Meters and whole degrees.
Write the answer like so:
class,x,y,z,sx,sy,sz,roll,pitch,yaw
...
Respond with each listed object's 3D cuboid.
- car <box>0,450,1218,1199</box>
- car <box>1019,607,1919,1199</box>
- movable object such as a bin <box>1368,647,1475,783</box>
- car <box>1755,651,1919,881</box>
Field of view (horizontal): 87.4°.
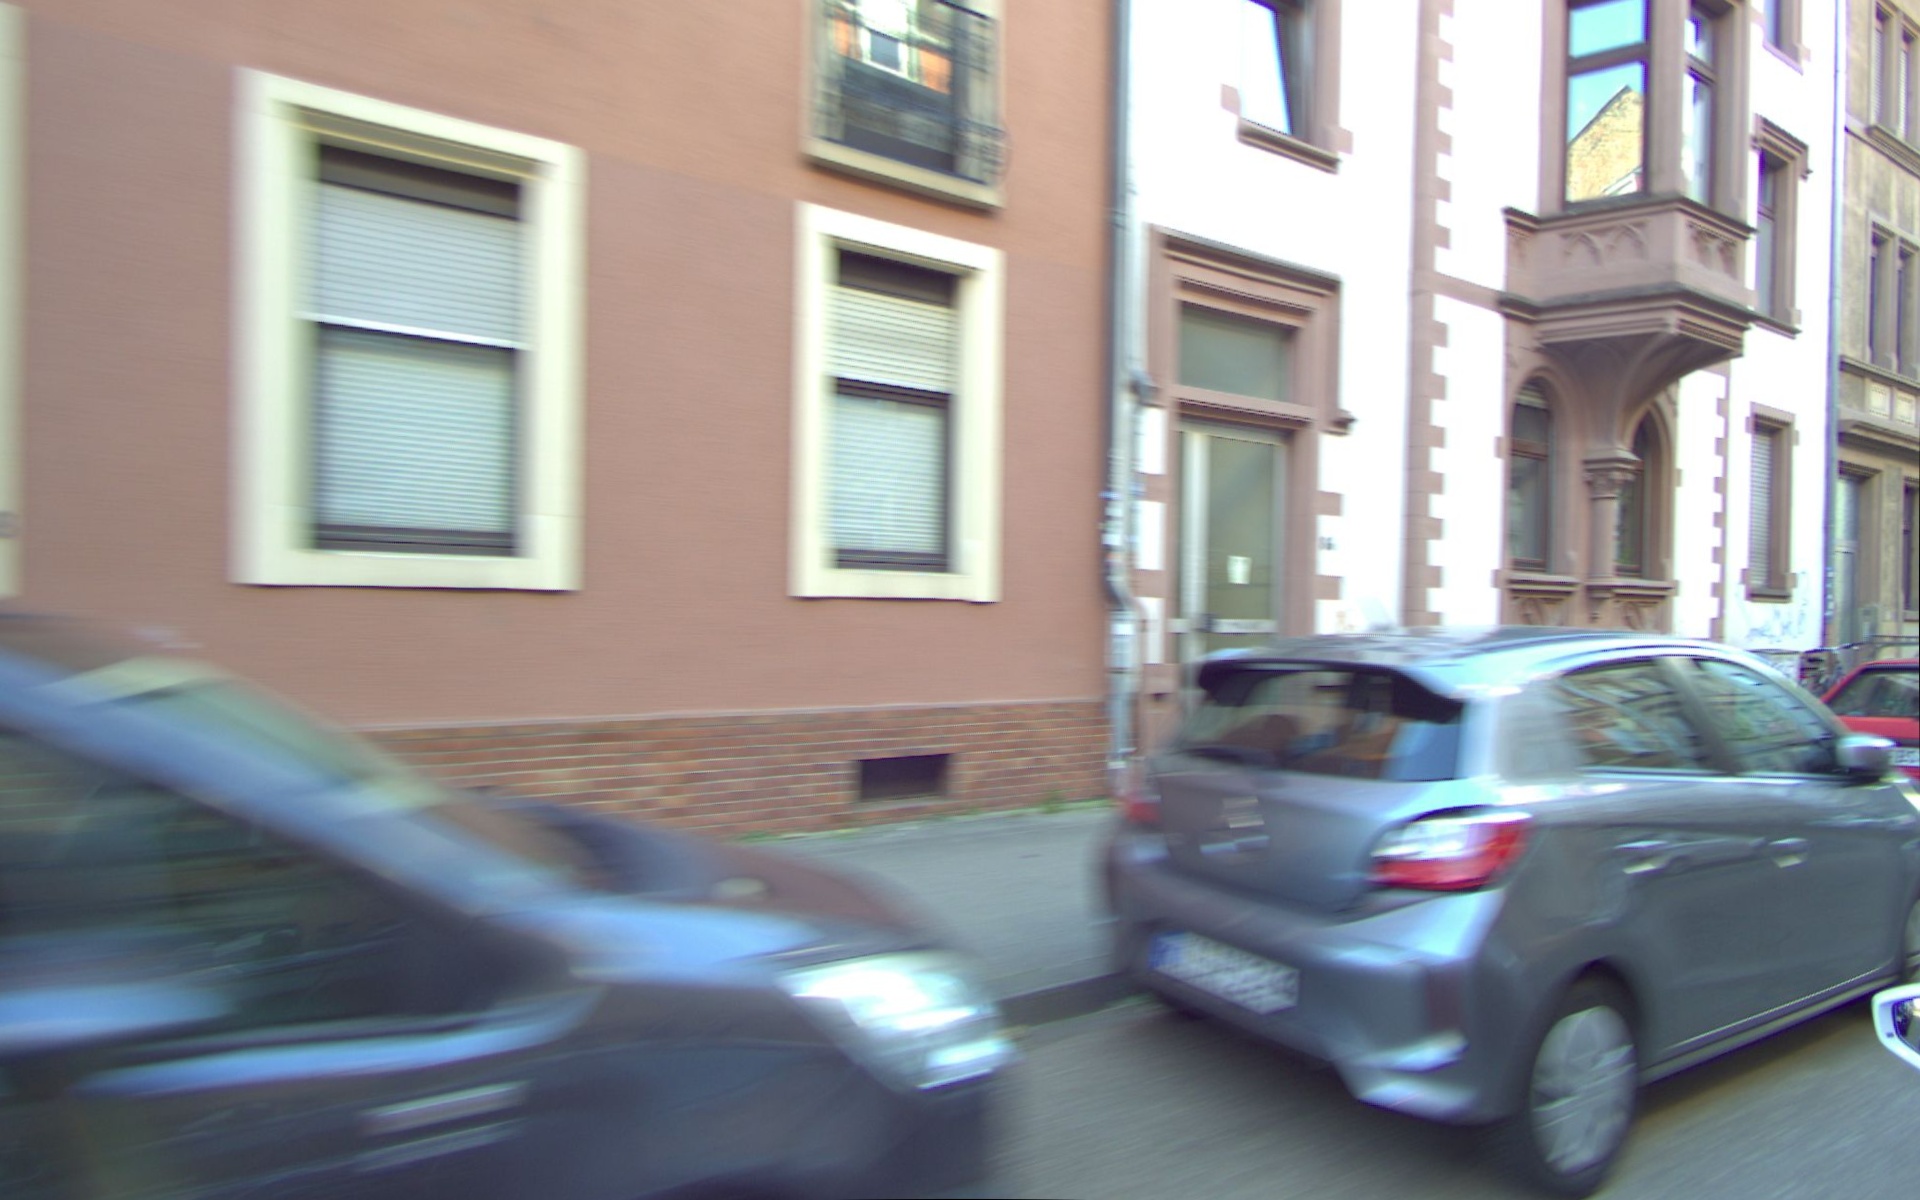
class,x,y,z,sx,sy,sz,roll,pitch,yaw
car,-1.703,0.670,1.485,4.024,1.627,1.771,1,-1,-32
car,2.303,0.838,3.888,3.873,1.493,1.686,1,-3,-31
movable object such as a bin,3.773,0.921,8.234,0.550,1.040,0.551,1,1,-16
car,7.169,1.015,6.832,3.572,1.344,1.610,1,-4,-32
